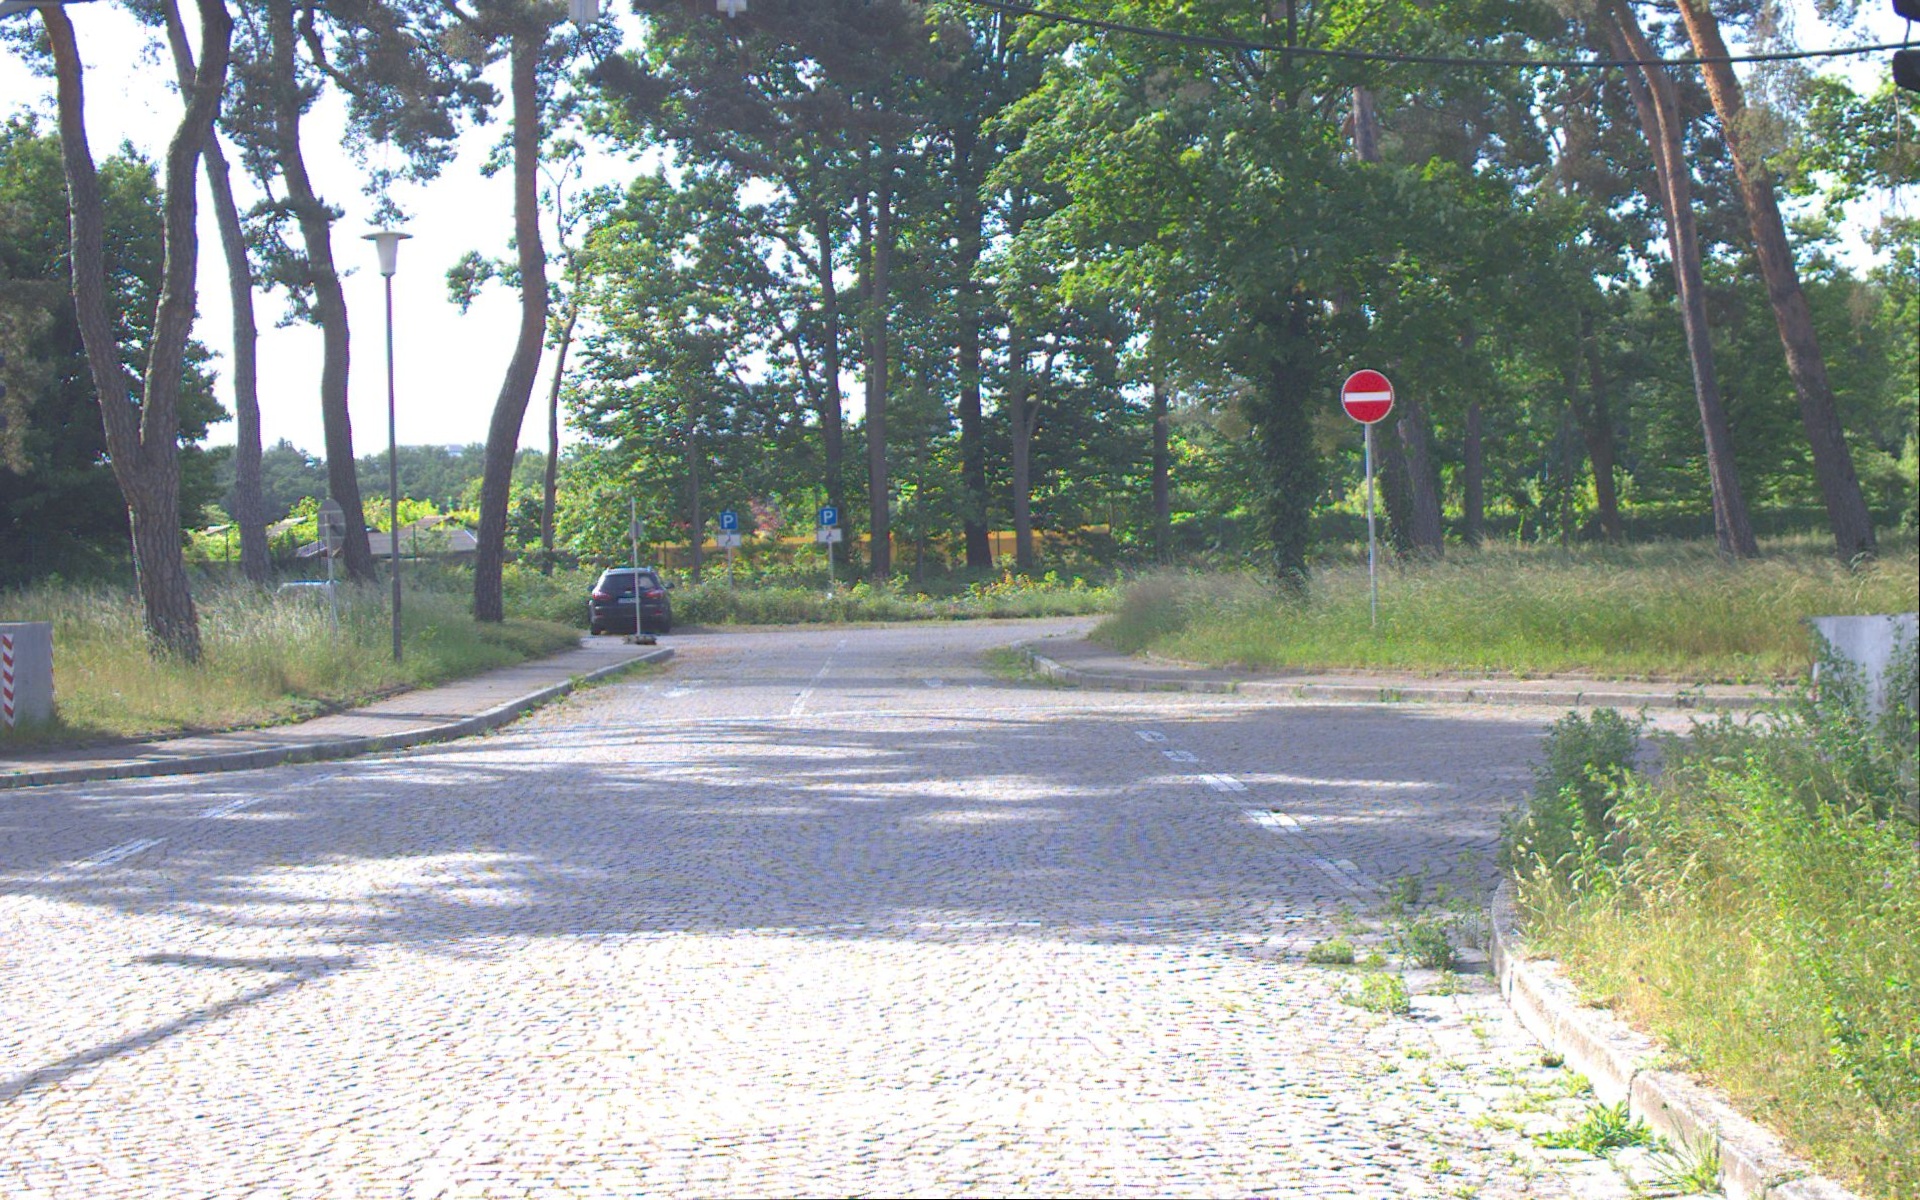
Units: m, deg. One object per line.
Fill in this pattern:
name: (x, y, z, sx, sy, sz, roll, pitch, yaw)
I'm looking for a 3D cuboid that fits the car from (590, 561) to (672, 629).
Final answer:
car: (-7.666, -0.139, 80.402, 1.709, 1.491, 3.919, -2, 1, -3)
